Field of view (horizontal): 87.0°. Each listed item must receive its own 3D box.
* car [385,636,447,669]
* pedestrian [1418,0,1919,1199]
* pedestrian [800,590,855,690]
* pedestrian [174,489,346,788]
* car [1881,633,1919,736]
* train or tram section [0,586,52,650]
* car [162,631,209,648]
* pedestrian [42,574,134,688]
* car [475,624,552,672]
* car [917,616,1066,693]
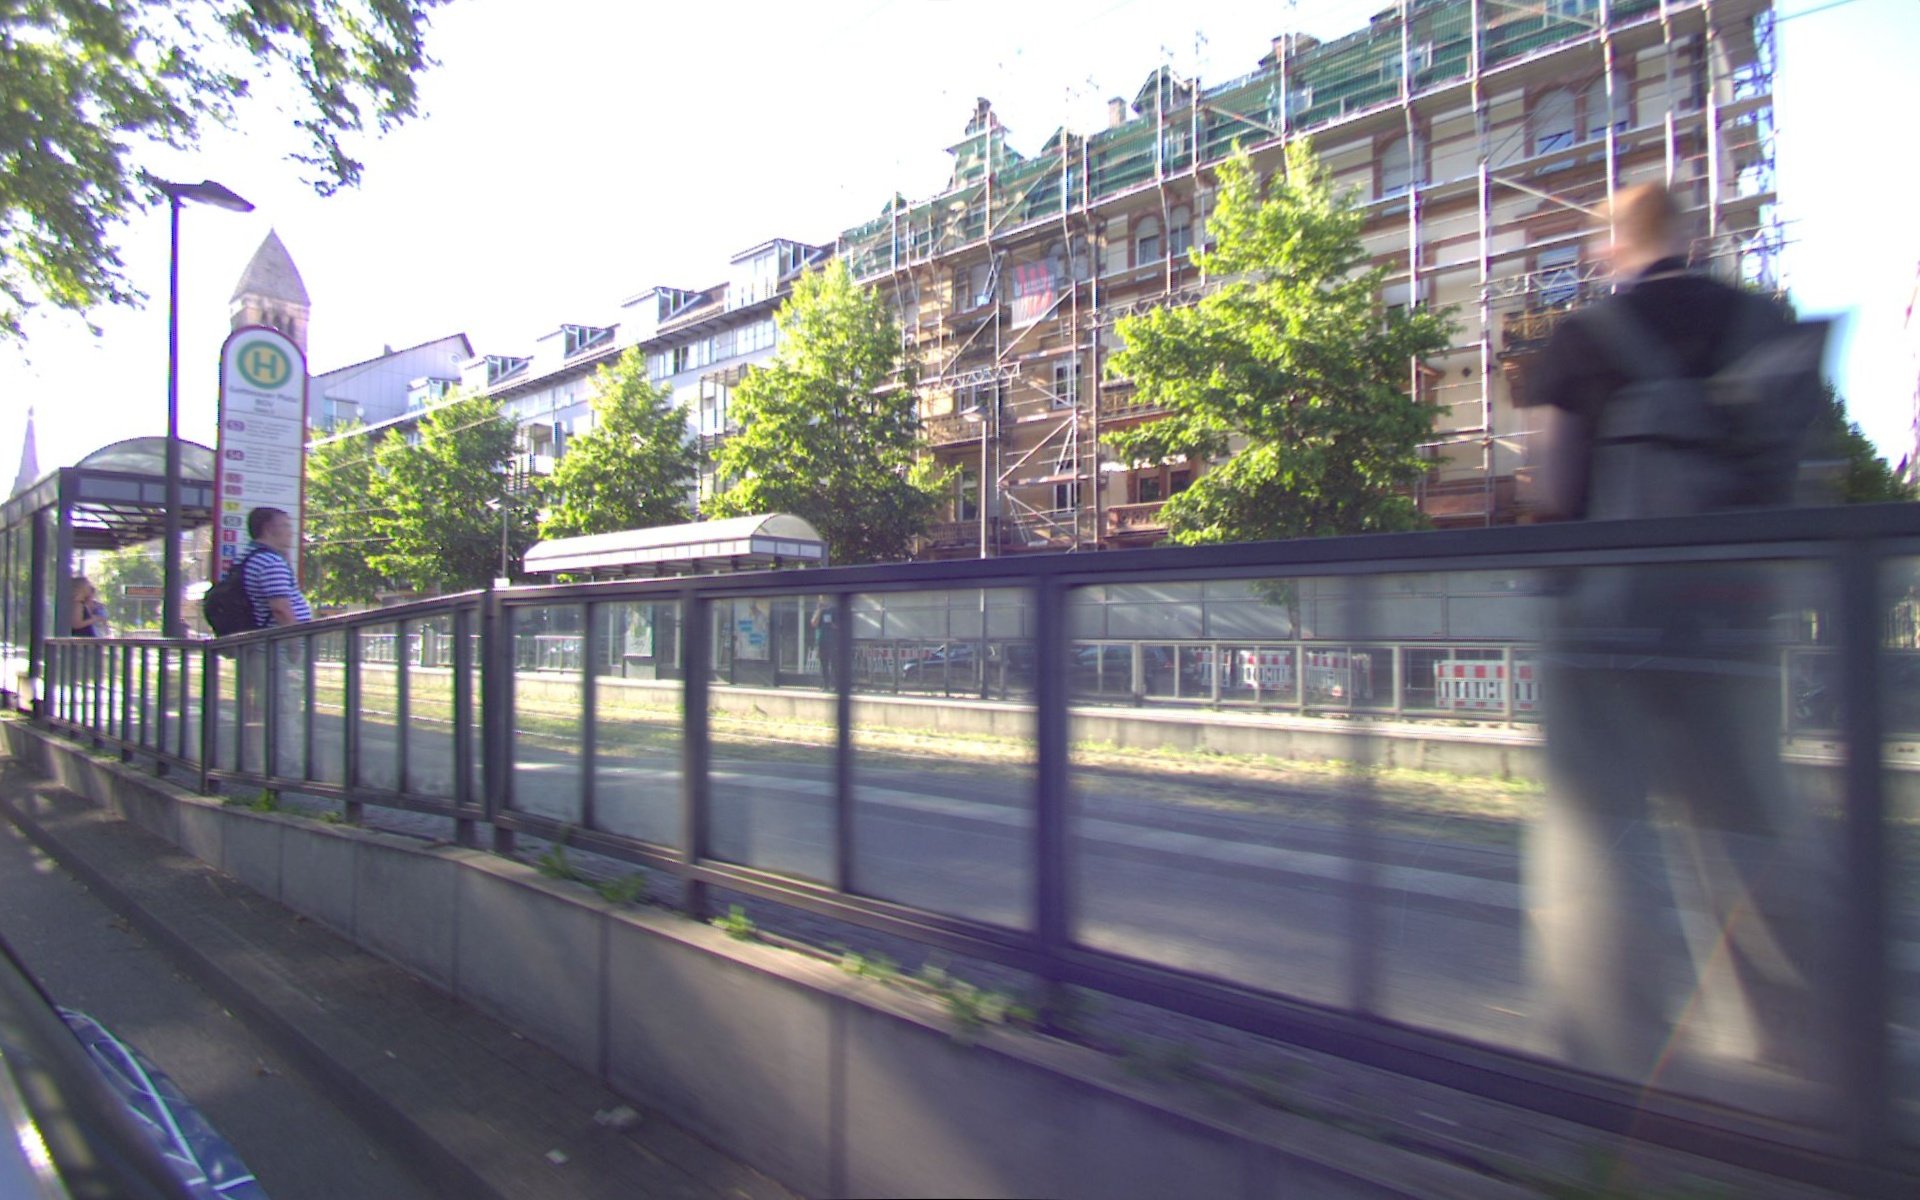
[{"bbox_3d":[-30.207,2.858,56.120,3.782,1.690,1.788,-1,-1,40],"label":"car"},{"bbox_3d":[1.261,-0.091,1.709,0.678,1.703,0.749,-2,-1,41],"label":"pedestrian"},{"bbox_3d":[-2.317,0.691,17.730,0.654,1.703,0.672,-2,-1,39],"label":"pedestrian"},{"bbox_3d":[-4.382,0.225,6.329,0.894,1.703,0.672,-2,-1,41],"label":"pedestrian"},{"bbox_3d":[17.061,1.340,15.663,4.067,1.598,1.702,-1,-1,45],"label":"car"},{"bbox_3d":[-60.571,1.216,64.015,14.552,3.714,2.840,-1,-3,41],"label":"train or tram section"},{"bbox_3d":[-89.377,4.550,116.806,1.869,1.819,3.973,-1,-1,41],"label":"car"},{"bbox_3d":[-13.743,0.485,15.973,0.624,1.735,0.908,-1,-1,7],"label":"pedestrian"},{"bbox_3d":[-21.463,2.266,48.573,3.782,2.183,1.920,-1,-1,40],"label":"car"},{"bbox_3d":[0.871,1.515,29.443,3.999,2.029,1.972,-1,-1,42],"label":"car"}]
